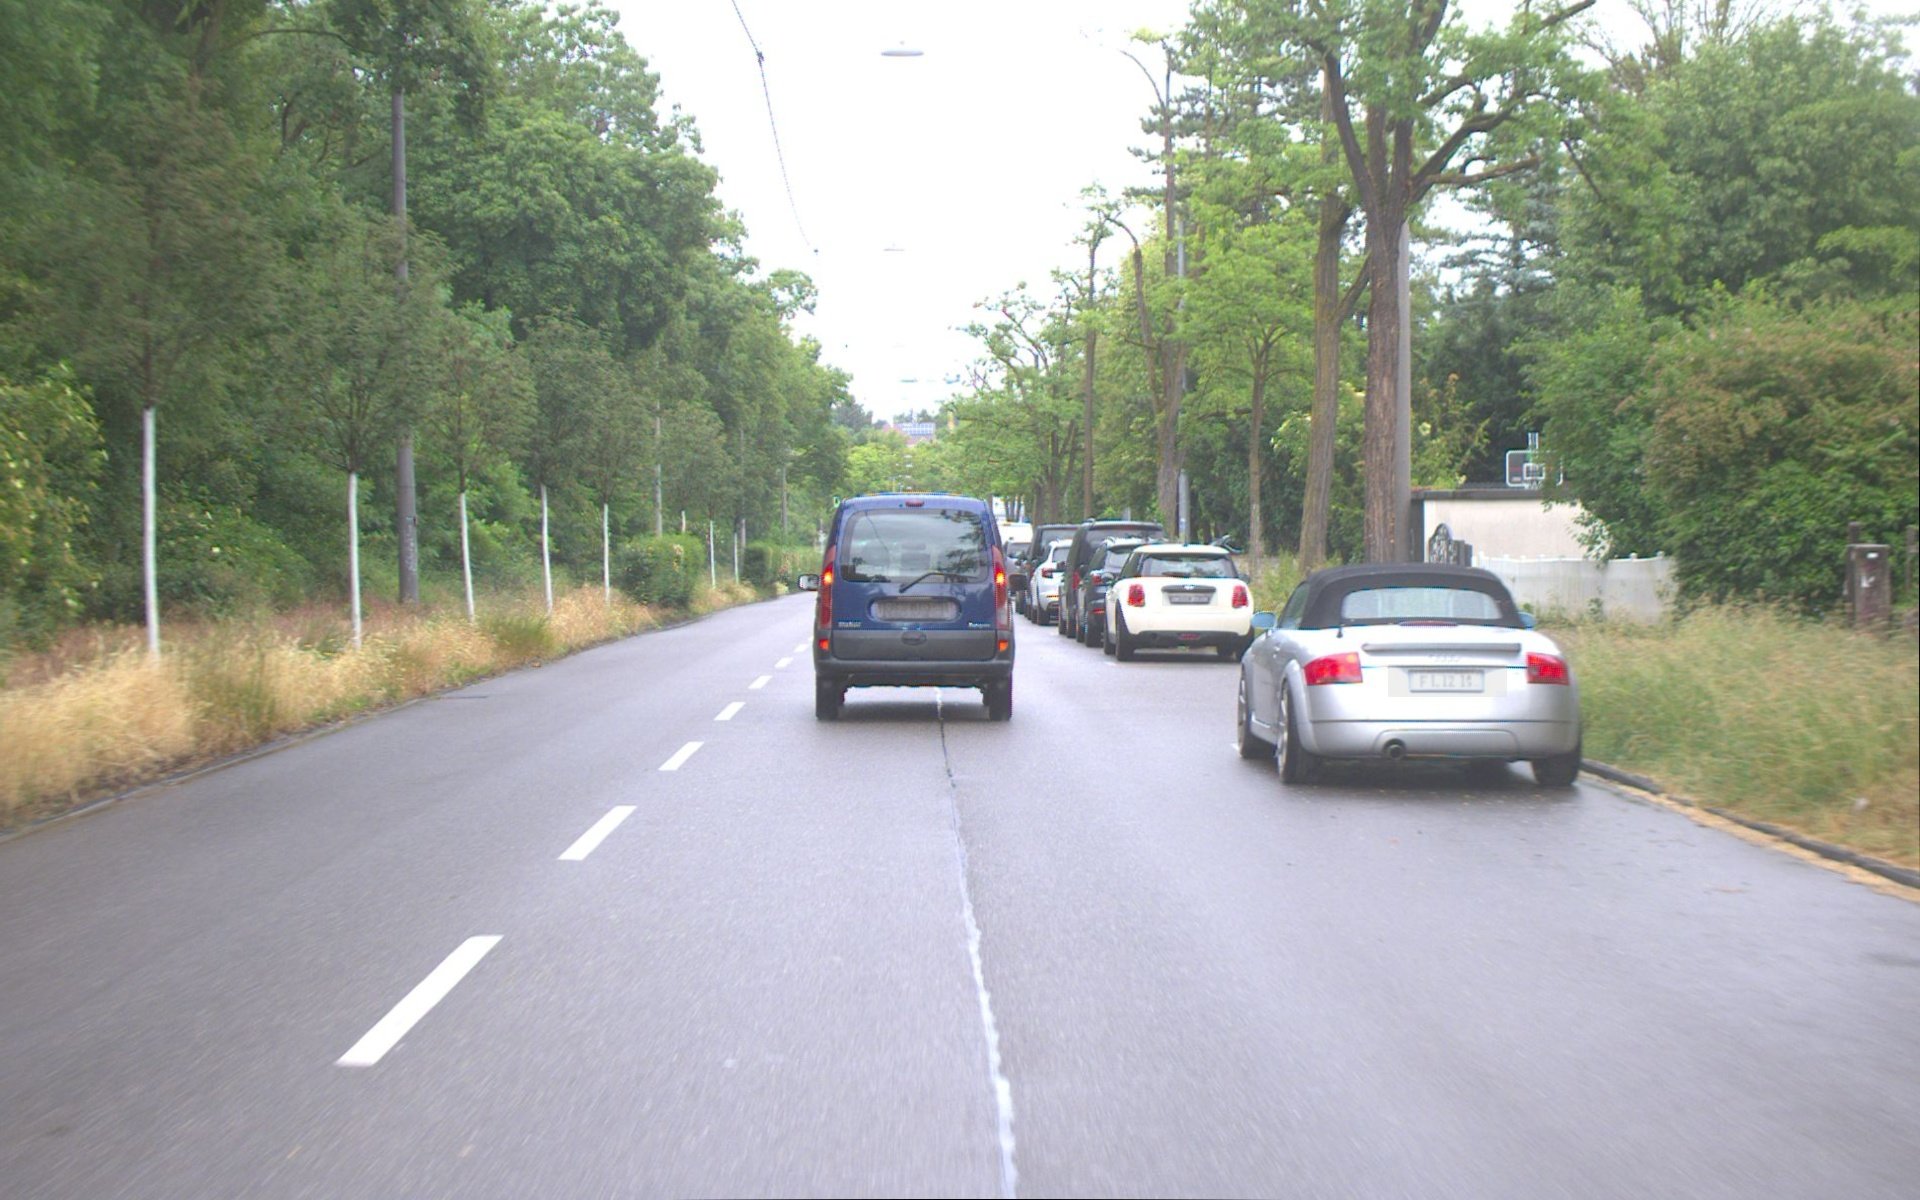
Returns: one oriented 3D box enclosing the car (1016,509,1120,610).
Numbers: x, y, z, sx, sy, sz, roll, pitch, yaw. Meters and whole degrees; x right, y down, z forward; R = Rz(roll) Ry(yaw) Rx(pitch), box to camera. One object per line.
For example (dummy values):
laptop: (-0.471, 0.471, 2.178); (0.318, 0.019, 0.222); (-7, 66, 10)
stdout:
car: (2.220, -0.885, 71.855); (1.993, 2.007, 4.888); (1, 1, 0)

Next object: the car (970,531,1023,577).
car: (1.230, -1.538, 114.650); (1.626, 1.459, 3.807); (1, 1, 2)

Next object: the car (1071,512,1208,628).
car: (2.510, -0.463, 48.813); (1.678, 1.550, 4.076); (1, 1, -1)

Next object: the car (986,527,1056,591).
car: (1.785, -1.236, 101.693); (1.814, 1.807, 4.283); (1, 1, -2)

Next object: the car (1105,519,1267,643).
car: (2.816, -0.271, 43.448); (1.738, 1.459, 3.725); (1, 1, -1)

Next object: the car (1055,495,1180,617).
car: (2.470, -0.735, 54.728); (1.730, 1.841, 4.230); (1, 1, -1)

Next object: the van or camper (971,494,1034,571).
van or camper: (1.496, -2.426, 122.612); (2.078, 2.641, 5.346); (1, 1, -1)

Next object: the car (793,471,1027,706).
car: (-0.475, -0.135, 28.758); (1.766, 1.824, 3.543); (1, 1, -3)

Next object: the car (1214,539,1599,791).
car: (2.725, 0.342, 21.822); (1.782, 1.390, 4.001); (1, 1, -2)

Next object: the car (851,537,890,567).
car: (-4.520, -2.442, 174.878); (1.860, 1.475, 4.156); (-1, 1, 0)

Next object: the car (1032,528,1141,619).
car: (2.364, -0.529, 65.163); (1.804, 1.607, 4.286); (1, 1, -1)
